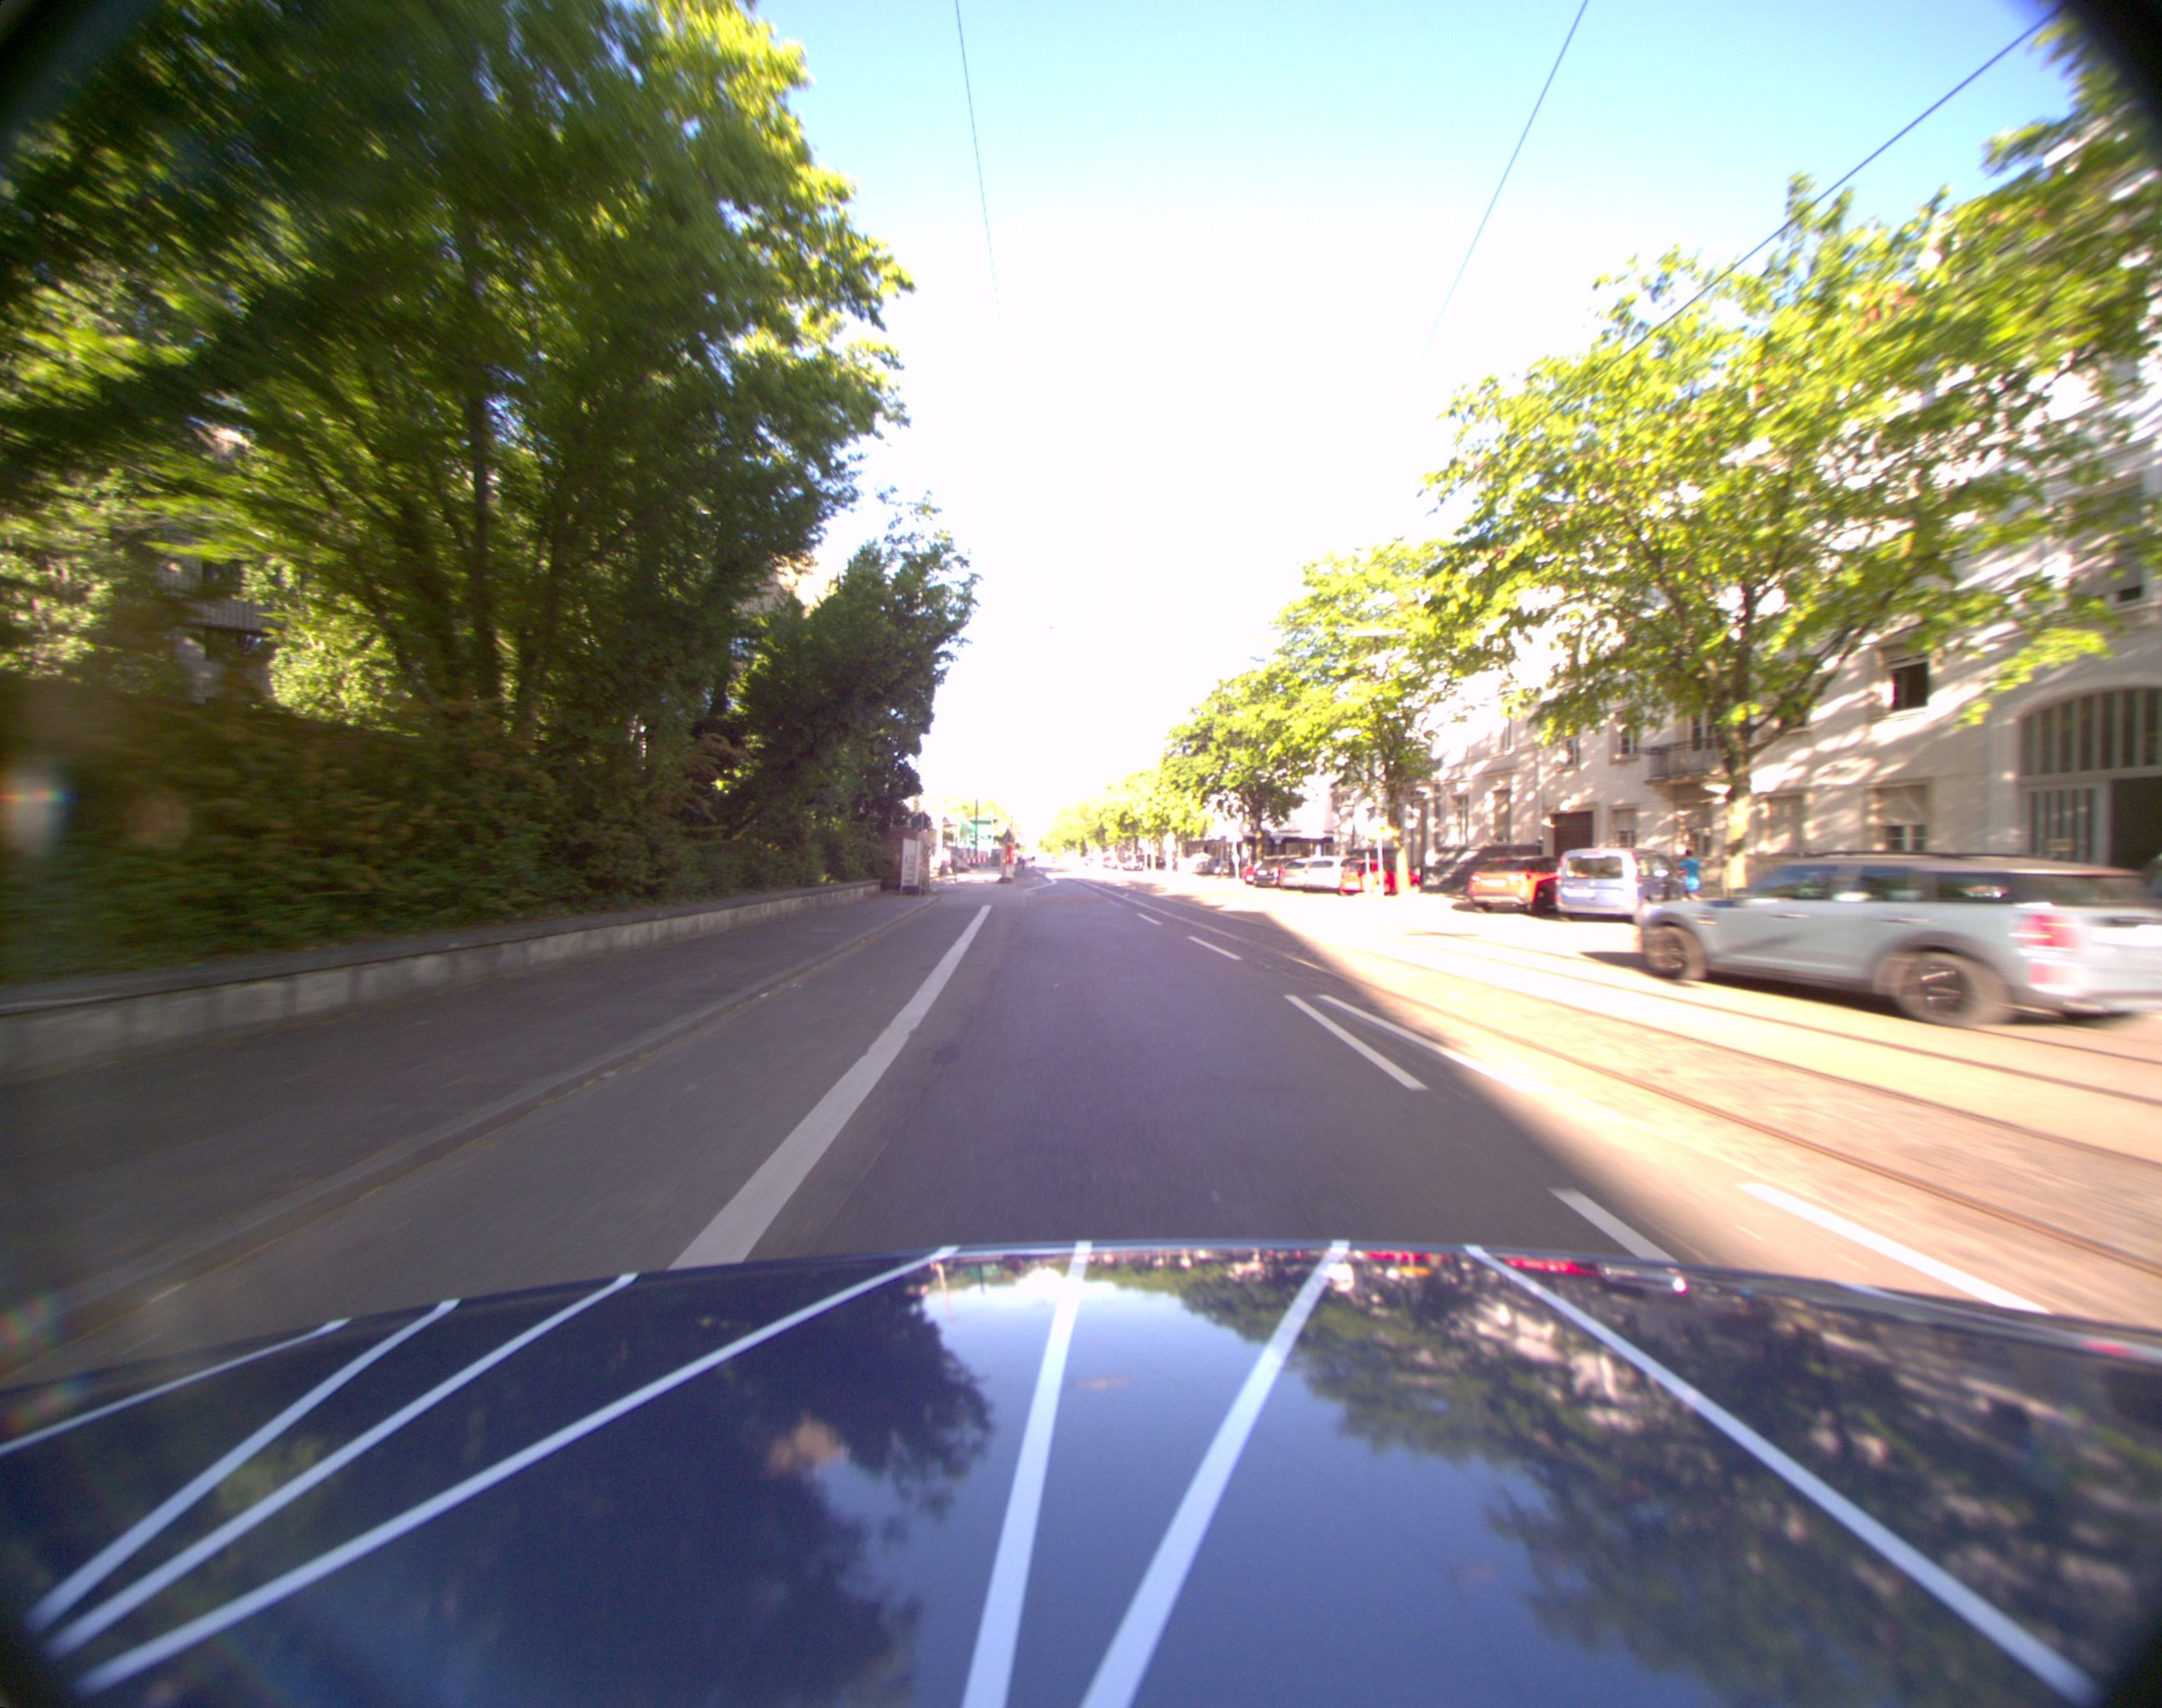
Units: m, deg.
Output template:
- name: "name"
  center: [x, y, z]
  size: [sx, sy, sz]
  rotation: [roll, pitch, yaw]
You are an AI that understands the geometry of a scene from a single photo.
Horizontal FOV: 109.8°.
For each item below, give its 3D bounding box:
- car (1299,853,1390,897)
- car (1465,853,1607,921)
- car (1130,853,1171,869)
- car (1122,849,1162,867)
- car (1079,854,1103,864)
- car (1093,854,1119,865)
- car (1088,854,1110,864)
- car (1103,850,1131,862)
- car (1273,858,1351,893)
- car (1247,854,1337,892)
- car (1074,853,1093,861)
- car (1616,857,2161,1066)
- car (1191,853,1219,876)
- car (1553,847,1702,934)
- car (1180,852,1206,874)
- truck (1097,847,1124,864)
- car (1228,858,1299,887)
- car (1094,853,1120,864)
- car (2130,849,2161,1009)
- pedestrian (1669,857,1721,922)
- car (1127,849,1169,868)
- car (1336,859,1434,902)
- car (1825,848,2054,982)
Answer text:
- name: "car"
  center: [11.941, 0.887, 34.290]
  size: [4.208, 1.714, 1.780]
  rotation: [-3, 2, -36]
- name: "car"
  center: [12.944, 0.874, 21.544]
  size: [4.207, 1.627, 1.739]
  rotation: [-3, 0, -33]
- name: "car"
  center: [7.441, 0.756, 81.476]
  size: [4.102, 1.561, 1.671]
  rotation: [-2, 1, -10]
- name: "car"
  center: [7.084, 0.478, 87.930]
  size: [4.309, 1.940, 1.671]
  rotation: [-2, 1, -10]
- name: "car"
  center: [1.643, 0.813, 130.178]
  size: [3.773, 1.584, 1.671]
  rotation: [-2, 1, -10]
- name: "car"
  center: [3.958, 0.934, 121.478]
  size: [3.773, 1.584, 1.671]
  rotation: [-2, 1, -10]
- name: "car"
  center: [3.296, 0.842, 137.979]
  size: [3.773, 1.584, 1.671]
  rotation: [-2, 1, -10]
- name: "car"
  center: [5.146, 0.240, 109.352]
  size: [3.773, 1.584, 1.671]
  rotation: [-2, 1, -10]
- name: "car"
  center: [11.318, 1.009, 37.172]
  size: [3.772, 1.511, 1.744]
  rotation: [-3, 2, -38]
- name: "car"
  center: [11.001, 0.932, 39.574]
  size: [4.365, 1.704, 1.944]
  rotation: [-3, 2, -27]
- name: "car"
  center: [0.528, 0.647, 153.730]
  size: [3.622, 1.492, 1.503]
  rotation: [-2, 1, -10]
- name: "car"
  center: [8.426, 0.853, 8.180]
  size: [1.877, 1.591, 4.424]
  rotation: [1, 0, -7]
- name: "car"
  center: [10.553, 0.842, 64.788]
  size: [1.672, 1.886, 3.213]
  rotation: [1, 0, -4]
- name: "car"
  center: [13.450, 0.785, 18.630]
  size: [4.208, 1.788, 1.781]
  rotation: [-3, 2, -37]
- name: "car"
  center: [10.167, 0.812, 68.986]
  size: [1.672, 1.886, 3.213]
  rotation: [1, 0, -4]
- name: "truck"
  center: [4.470, 0.279, 115.772]
  size: [3.772, 2.409, 1.672]
  rotation: [-2, 1, -5]
- name: "car"
  center: [10.429, 1.019, 43.293]
  size: [4.007, 1.478, 1.777]
  rotation: [-2, 2, -36]
- name: "car"
  center: [4.114, 0.670, 118.697]
  size: [3.773, 1.584, 1.671]
  rotation: [-2, 1, -10]
- name: "car"
  center: [13.658, 0.810, 8.660]
  size: [3.877, 1.645, 1.768]
  rotation: [-2, 2, -33]
- name: "pedestrian"
  center: [16.227, 0.925, 20.087]
  size: [0.643, 1.686, 0.870]
  rotation: [0, 1, 0]
- name: "car"
  center: [7.443, 0.525, 84.848]
  size: [4.309, 1.940, 1.671]
  rotation: [-2, 1, -10]
- name: "car"
  center: [12.571, 1.025, 31.352]
  size: [4.208, 1.549, 1.636]
  rotation: [-2, 1, -33]
- name: "car"
  center: [13.158, 0.773, 11.605]
  size: [3.877, 1.645, 1.768]
  rotation: [-2, 2, -33]
